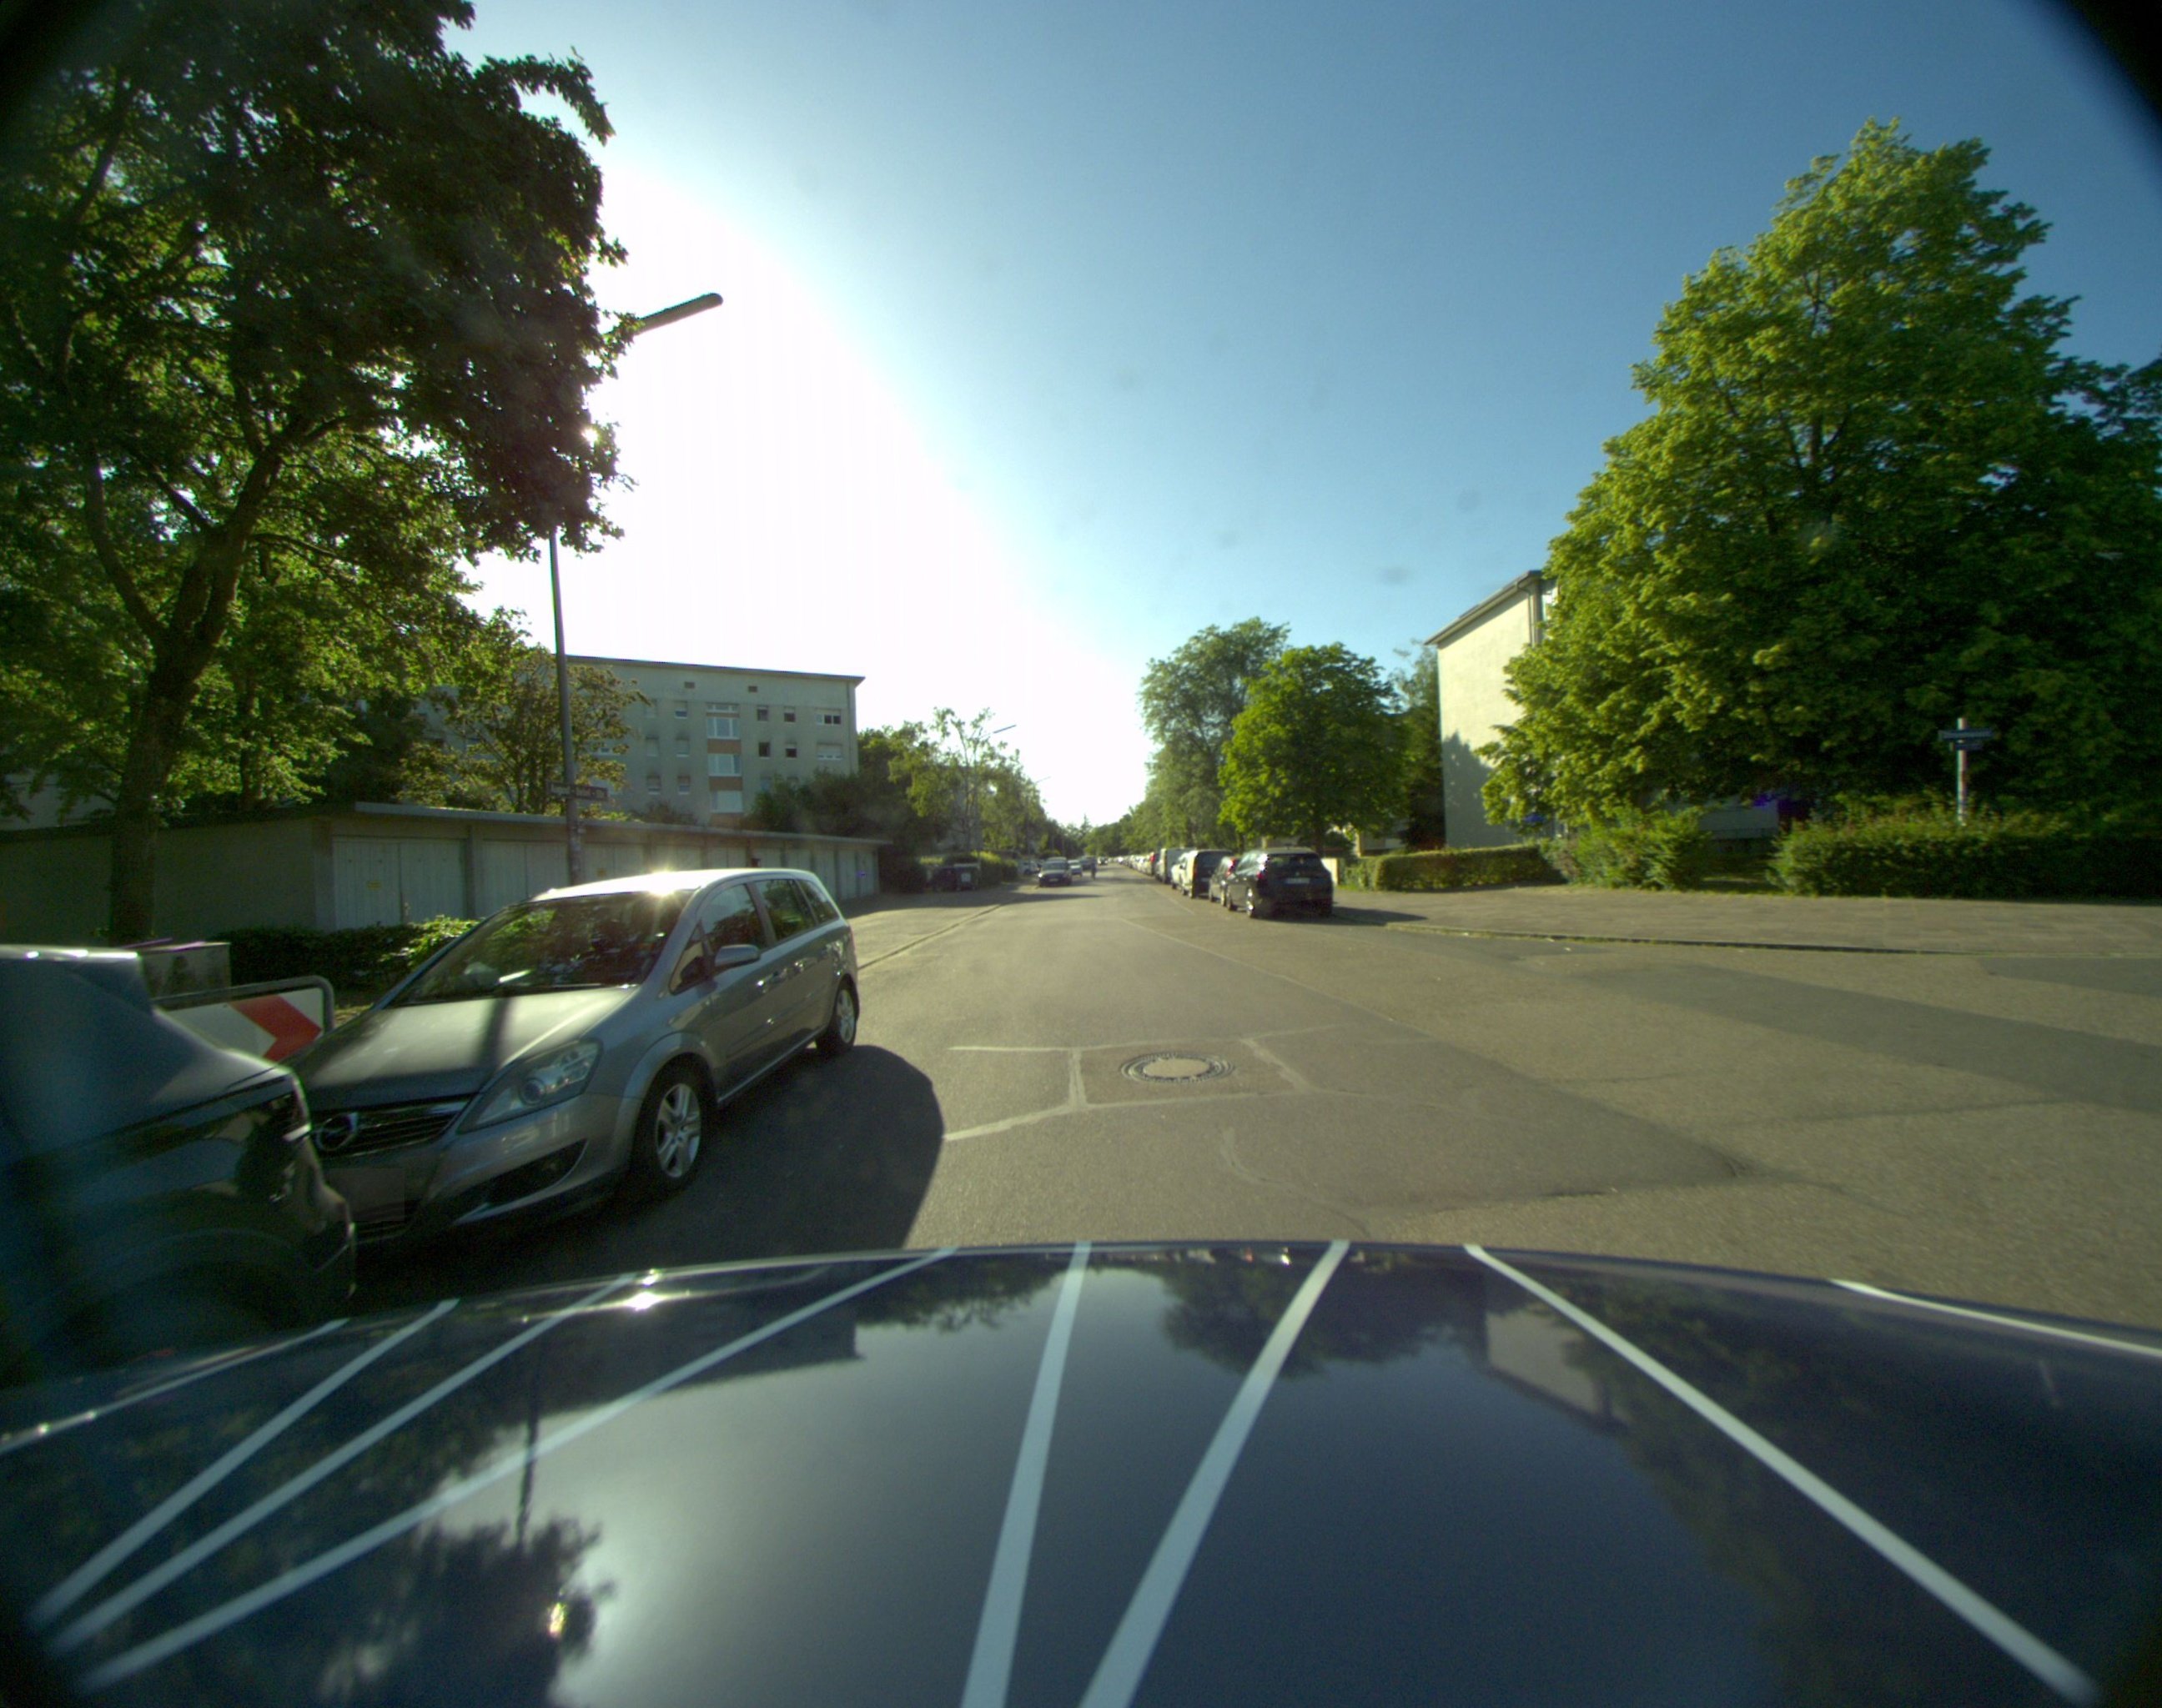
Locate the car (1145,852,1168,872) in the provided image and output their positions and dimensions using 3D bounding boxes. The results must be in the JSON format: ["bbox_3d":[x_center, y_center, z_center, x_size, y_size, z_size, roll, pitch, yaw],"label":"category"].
[{"bbox_3d":[6.263,0.615,63.346,1.632,1.619,3.556,0,0,1],"label":"car"}]

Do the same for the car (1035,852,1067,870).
[{"bbox_3d":[-3.818,0.888,96.355,3.776,2.002,1.810,-5,1,1],"label":"car"}]

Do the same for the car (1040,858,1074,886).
[{"bbox_3d":[-1.366,1.024,44.886,1.732,1.462,3.813,-3,0,1],"label":"car"}]

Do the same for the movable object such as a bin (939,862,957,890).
[{"bbox_3d":[-7.031,1.179,40.165,0.754,1.434,0.848,-1,1,0],"label":"movable object such as a bin"}]

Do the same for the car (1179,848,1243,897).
[{"bbox_3d":[4.760,0.645,28.227,1.817,1.672,3.648,0,0,1],"label":"car"}]

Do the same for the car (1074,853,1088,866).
[{"bbox_3d":[0.055,0.692,101.449,1.732,1.586,3.813,-3,0,1],"label":"car"}]

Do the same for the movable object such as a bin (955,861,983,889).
[{"bbox_3d":[-5.965,1.095,40.613,1.278,1.434,1.179,-1,1,0],"label":"movable object such as a bin"}]

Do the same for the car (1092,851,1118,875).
[{"bbox_3d":[1.763,0.659,56.364,1.732,1.586,3.813,-3,0,1],"label":"car"}]

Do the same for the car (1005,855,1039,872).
[{"bbox_3d":[-6.247,1.013,80.597,3.504,1.499,1.602,-5,1,-4],"label":"car"}]

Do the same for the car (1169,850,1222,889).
[{"bbox_3d":[5.071,0.674,34.169,1.732,1.630,4.169,0,0,0],"label":"car"}]

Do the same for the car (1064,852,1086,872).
[{"bbox_3d":[-0.542,0.714,67.128,1.732,1.586,3.813,-3,0,1],"label":"car"}]

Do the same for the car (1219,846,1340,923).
[{"bbox_3d":[4.590,0.647,18.260,1.784,1.564,4.424,-2,0,1],"label":"car"}]

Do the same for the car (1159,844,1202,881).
[{"bbox_3d":[5.425,0.450,41.919,1.909,1.930,4.511,0,0,2],"label":"car"}]

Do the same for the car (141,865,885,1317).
[{"bbox_3d":[-2.883,1.009,5.307,1.772,1.601,4.371,-5,1,0],"label":"car"}]

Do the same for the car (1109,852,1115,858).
[{"bbox_3d":[8.829,0.368,217.740,1.632,1.629,3.566,0,0,1],"label":"car"}]

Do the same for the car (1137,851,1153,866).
[{"bbox_3d":[7.266,0.500,86.678,1.632,1.619,3.556,0,0,1],"label":"car"}]

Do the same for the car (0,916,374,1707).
[{"bbox_3d":[-2.990,1.048,0.131,1.809,1.584,4.023,-5,0,1],"label":"car"}]

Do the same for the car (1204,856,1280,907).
[{"bbox_3d":[4.834,0.775,23.267,1.627,1.428,3.654,0,0,1],"label":"car"}]

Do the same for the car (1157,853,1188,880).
[{"bbox_3d":[5.813,0.762,48.486,1.732,1.630,3.813,0,0,4],"label":"car"}]

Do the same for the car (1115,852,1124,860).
[{"bbox_3d":[7.782,0.348,154.411,1.632,1.619,3.556,0,0,1],"label":"car"}]

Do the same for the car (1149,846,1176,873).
[{"bbox_3d":[6.089,0.374,57.157,1.732,1.941,3.813,0,0,1],"label":"car"}]

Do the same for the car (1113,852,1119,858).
[{"bbox_3d":[9.502,0.327,205.236,1.632,1.619,3.556,0,0,1],"label":"car"}]

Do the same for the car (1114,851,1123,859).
[{"bbox_3d":[7.382,0.246,148.153,1.632,1.619,3.556,0,0,1],"label":"car"}]

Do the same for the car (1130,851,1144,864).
[{"bbox_3d":[7.037,0.416,96.130,1.632,1.619,3.556,0,0,1],"label":"car"}]
